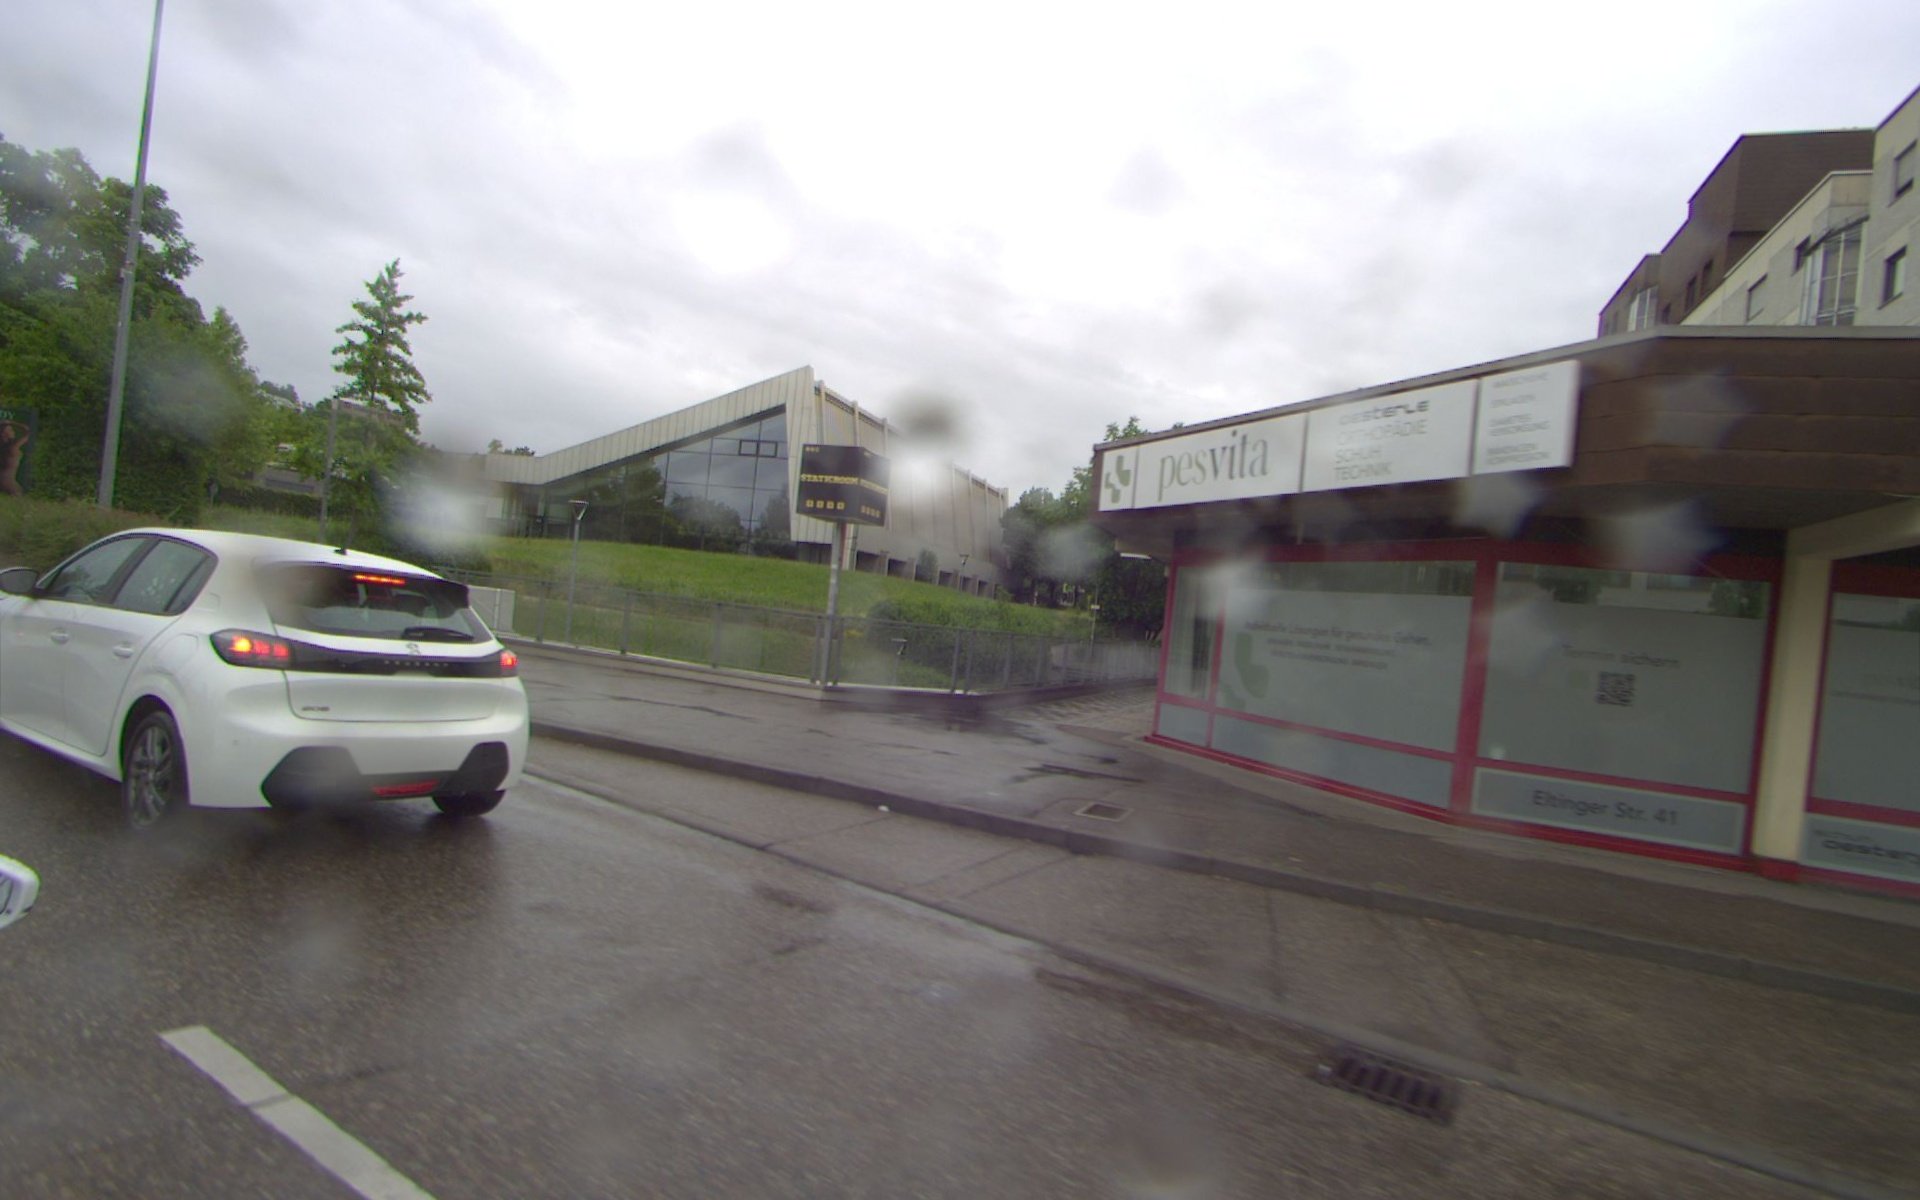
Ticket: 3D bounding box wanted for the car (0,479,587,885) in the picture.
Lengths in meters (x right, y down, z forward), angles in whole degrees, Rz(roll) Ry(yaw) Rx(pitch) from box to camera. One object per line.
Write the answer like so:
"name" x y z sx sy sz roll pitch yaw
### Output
"car" -4.234 0.272 5.875 3.867 1.537 1.694 8 -1 32
